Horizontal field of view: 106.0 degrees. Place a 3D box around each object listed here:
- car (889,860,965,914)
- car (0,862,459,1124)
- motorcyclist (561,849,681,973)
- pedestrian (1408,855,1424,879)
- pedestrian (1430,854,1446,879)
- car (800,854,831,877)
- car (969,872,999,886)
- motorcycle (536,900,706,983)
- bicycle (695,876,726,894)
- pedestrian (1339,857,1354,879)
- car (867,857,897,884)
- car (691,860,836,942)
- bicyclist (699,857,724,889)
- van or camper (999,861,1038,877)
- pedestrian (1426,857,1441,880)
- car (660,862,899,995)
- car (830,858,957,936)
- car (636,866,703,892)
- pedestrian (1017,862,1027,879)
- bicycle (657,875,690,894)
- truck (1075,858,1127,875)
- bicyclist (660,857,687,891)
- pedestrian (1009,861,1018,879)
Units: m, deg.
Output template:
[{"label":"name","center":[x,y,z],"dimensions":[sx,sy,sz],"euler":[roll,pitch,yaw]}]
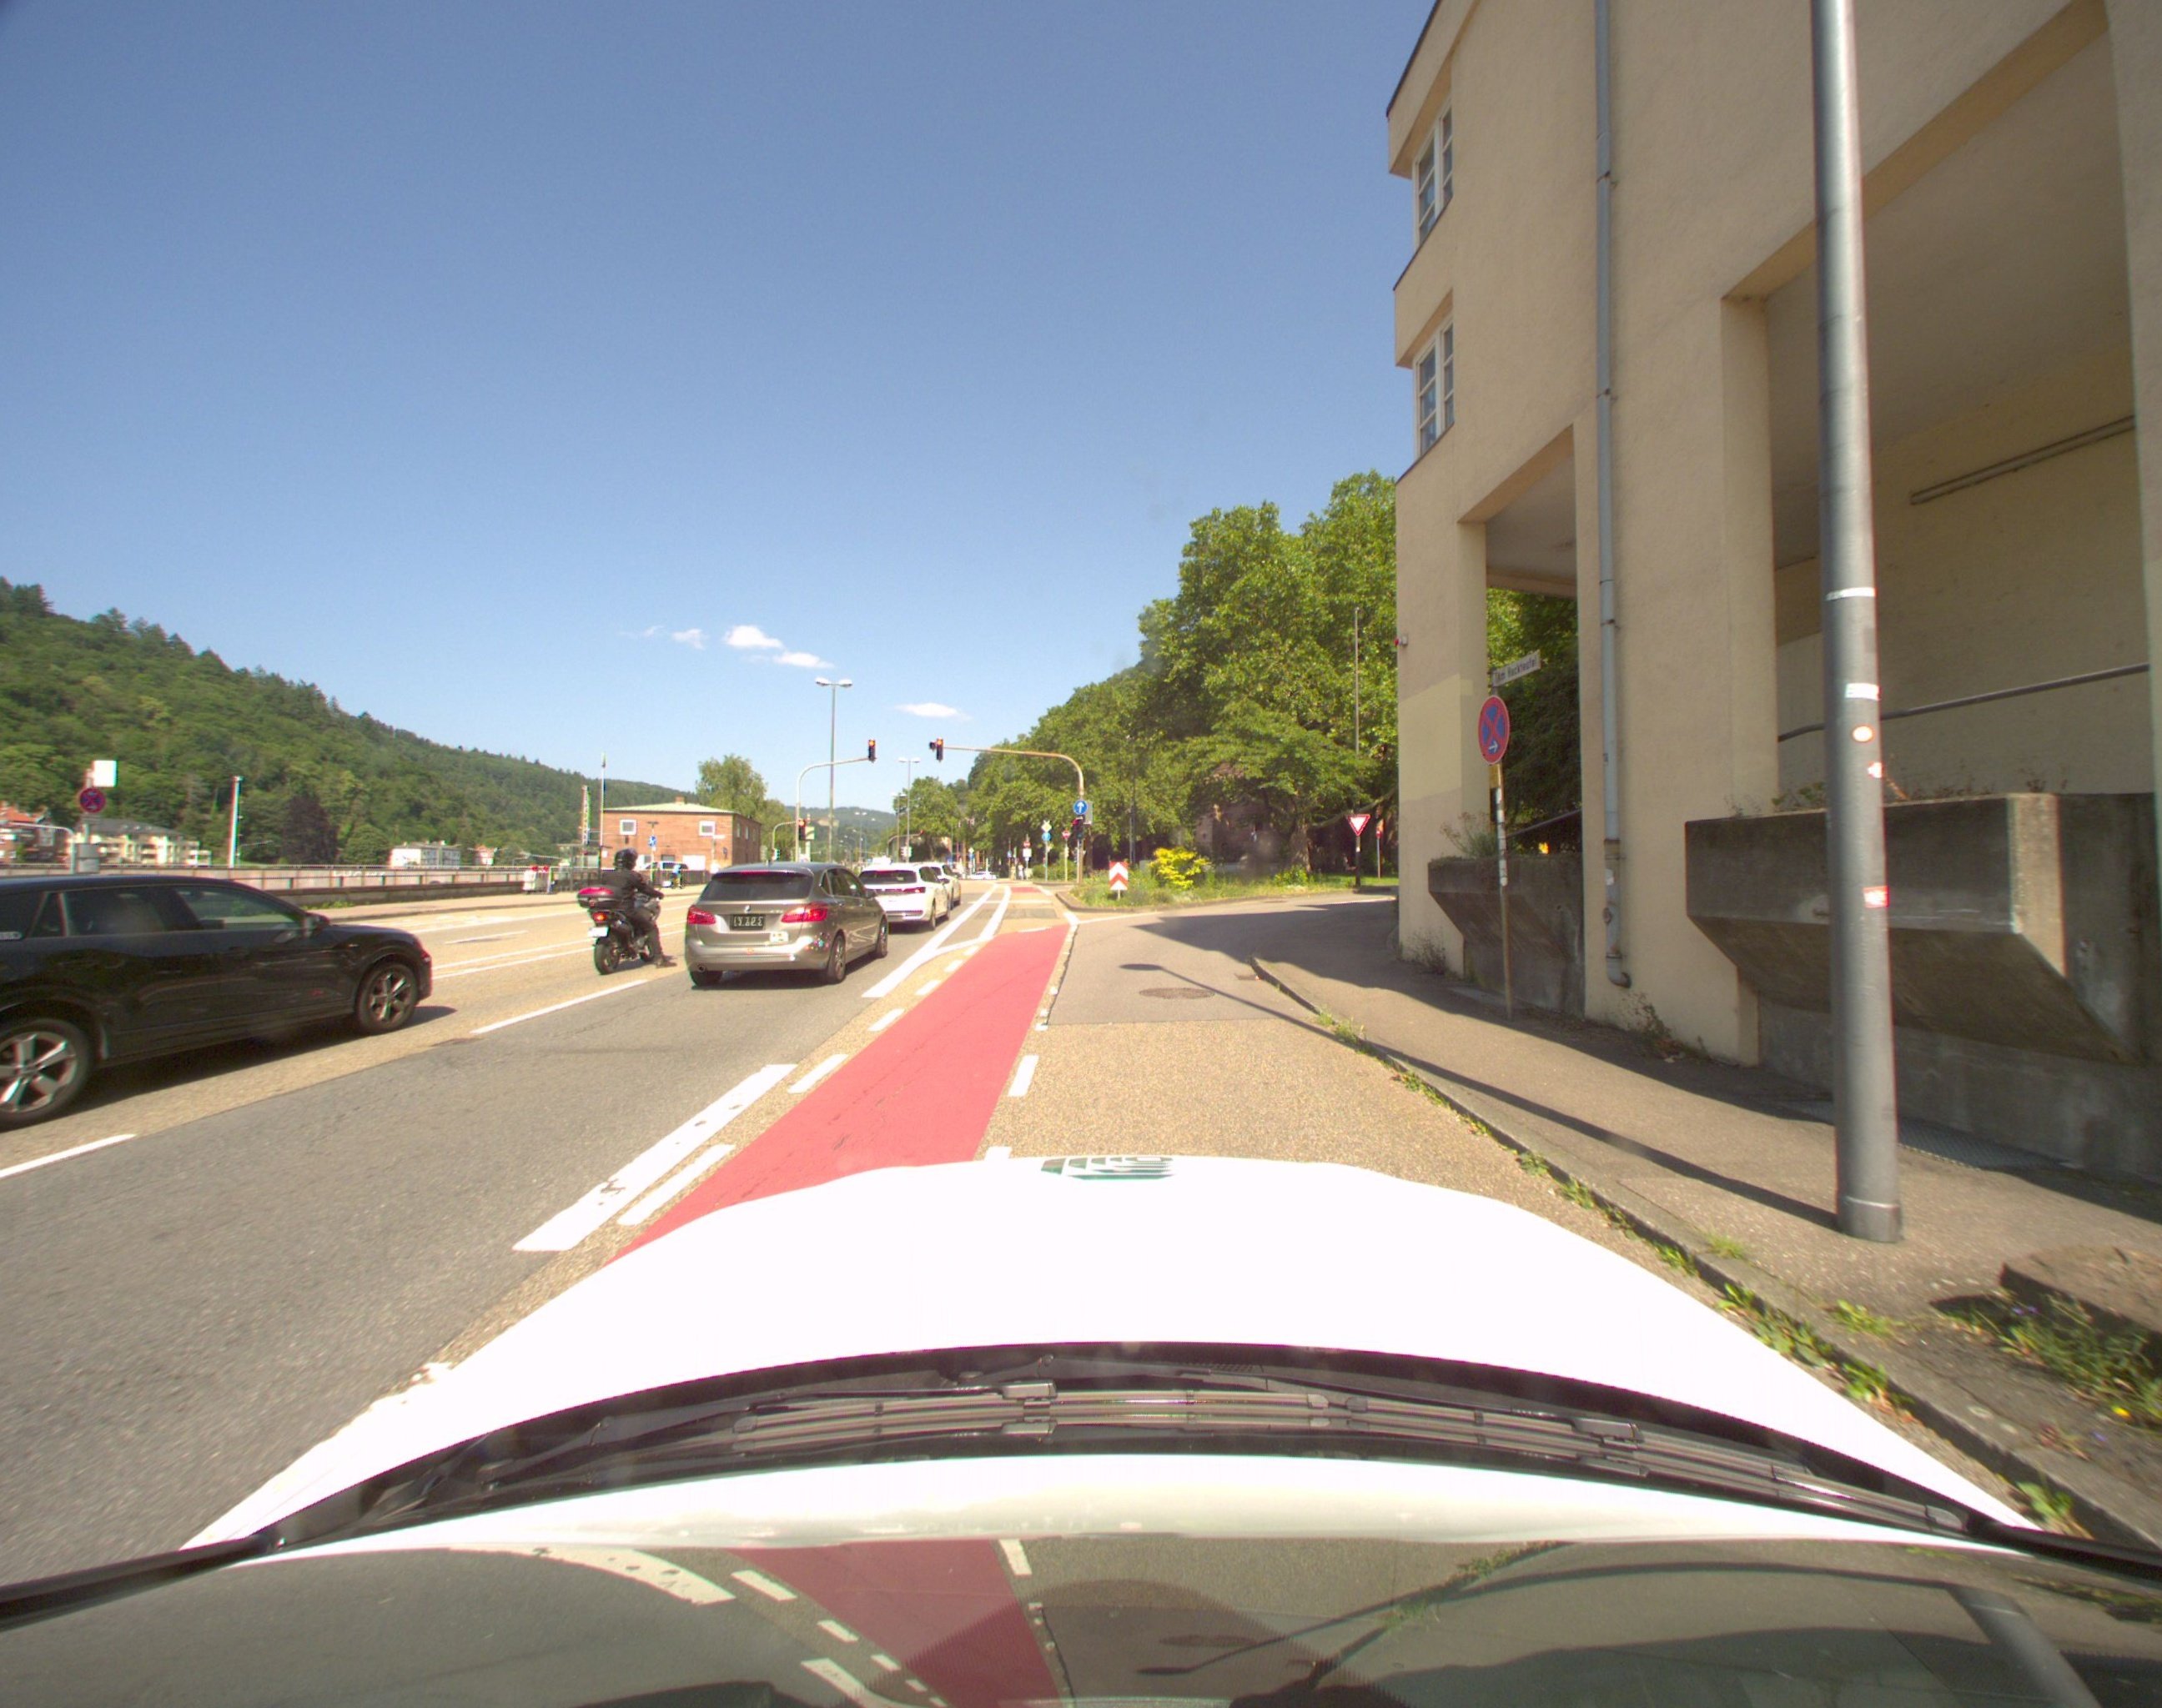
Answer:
[{"label":"car","center":[-4.822,0.996,26.084],"dimensions":[1.782,1.532,4.730],"euler":[-1,-1,-4]},{"label":"car","center":[-7.231,0.845,6.199],"dimensions":[1.864,1.514,4.148],"euler":[-1,-1,-2]},{"label":"motorcyclist","center":[-6.600,0.782,11.765],"dimensions":[1.073,1.684,1.155],"euler":[-1,0,-2]},{"label":"pedestrian","center":[24.149,0.928,58.762],"dimensions":[0.792,1.756,0.720],"euler":[1,-1,-9]},{"label":"pedestrian","center":[25.622,0.916,58.417],"dimensions":[0.792,1.756,0.663],"euler":[1,-1,-9]},{"label":"car","center":[-25.599,1.074,78.556],"dimensions":[2.216,2.078,5.023],"euler":[-1,0,-11]},{"label":"car","center":[-13.884,3.573,117.019],"dimensions":[3.948,2.014,1.955],"euler":[-1,0,35]},{"label":"motorcycle","center":[-6.596,1.215,11.916],"dimensions":[1.035,0.919,2.603],"euler":[-1,0,-1]},{"label":"bicycle","center":[-23.795,1.976,52.327],"dimensions":[1.213,1.090,2.587],"euler":[-1,0,-12]},{"label":"pedestrian","center":[22.017,1.155,67.585],"dimensions":[0.792,1.782,0.873],"euler":[-1,-1,-8]},{"label":"car","center":[-19.702,1.595,80.491],"dimensions":[2.390,2.576,6.018],"euler":[-1,-1,-18]},{"label":"car","center":[-6.937,0.952,18.272],"dimensions":[1.862,1.562,3.995],"euler":[-1,0,-3]},{"label":"bicyclist","center":[-23.844,1.191,52.564],"dimensions":[1.213,2.014,1.114],"euler":[-1,0,-12]},{"label":"van or camper","center":[-7.839,1.870,102.404],"dimensions":[4.509,1.902,2.008],"euler":[-1,-1,14]},{"label":"pedestrian","center":[26.661,1.080,61.640],"dimensions":[0.792,1.756,0.663],"euler":[1,-1,-9]},{"label":"car","center":[-3.988,0.888,11.630],"dimensions":[1.883,1.521,4.303],"euler":[0,-1,-1]},{"label":"car","center":[-4.194,0.887,19.017],"dimensions":[1.989,1.533,4.854],"euler":[-1,0,-2]},{"label":"car","center":[-34.338,2.075,68.062],"dimensions":[4.644,2.014,1.975],"euler":[-1,-1,-44]},{"label":"pedestrian","center":[-5.832,1.613,80.413],"dimensions":[0.758,1.708,0.879],"euler":[-1,-1,4]},{"label":"bicycle","center":[-25.225,1.877,50.463],"dimensions":[1.213,1.090,2.587],"euler":[-1,0,-12]},{"label":"truck","center":[2.472,1.558,101.590],"dimensions":[6.191,2.014,2.178],"euler":[-1,0,31]},{"label":"bicyclist","center":[-25.230,1.237,50.441],"dimensions":[1.213,2.014,1.114],"euler":[-1,0,-12]},{"label":"pedestrian","center":[-6.657,1.608,80.517],"dimensions":[0.758,1.719,0.796],"euler":[-1,-1,4]}]
